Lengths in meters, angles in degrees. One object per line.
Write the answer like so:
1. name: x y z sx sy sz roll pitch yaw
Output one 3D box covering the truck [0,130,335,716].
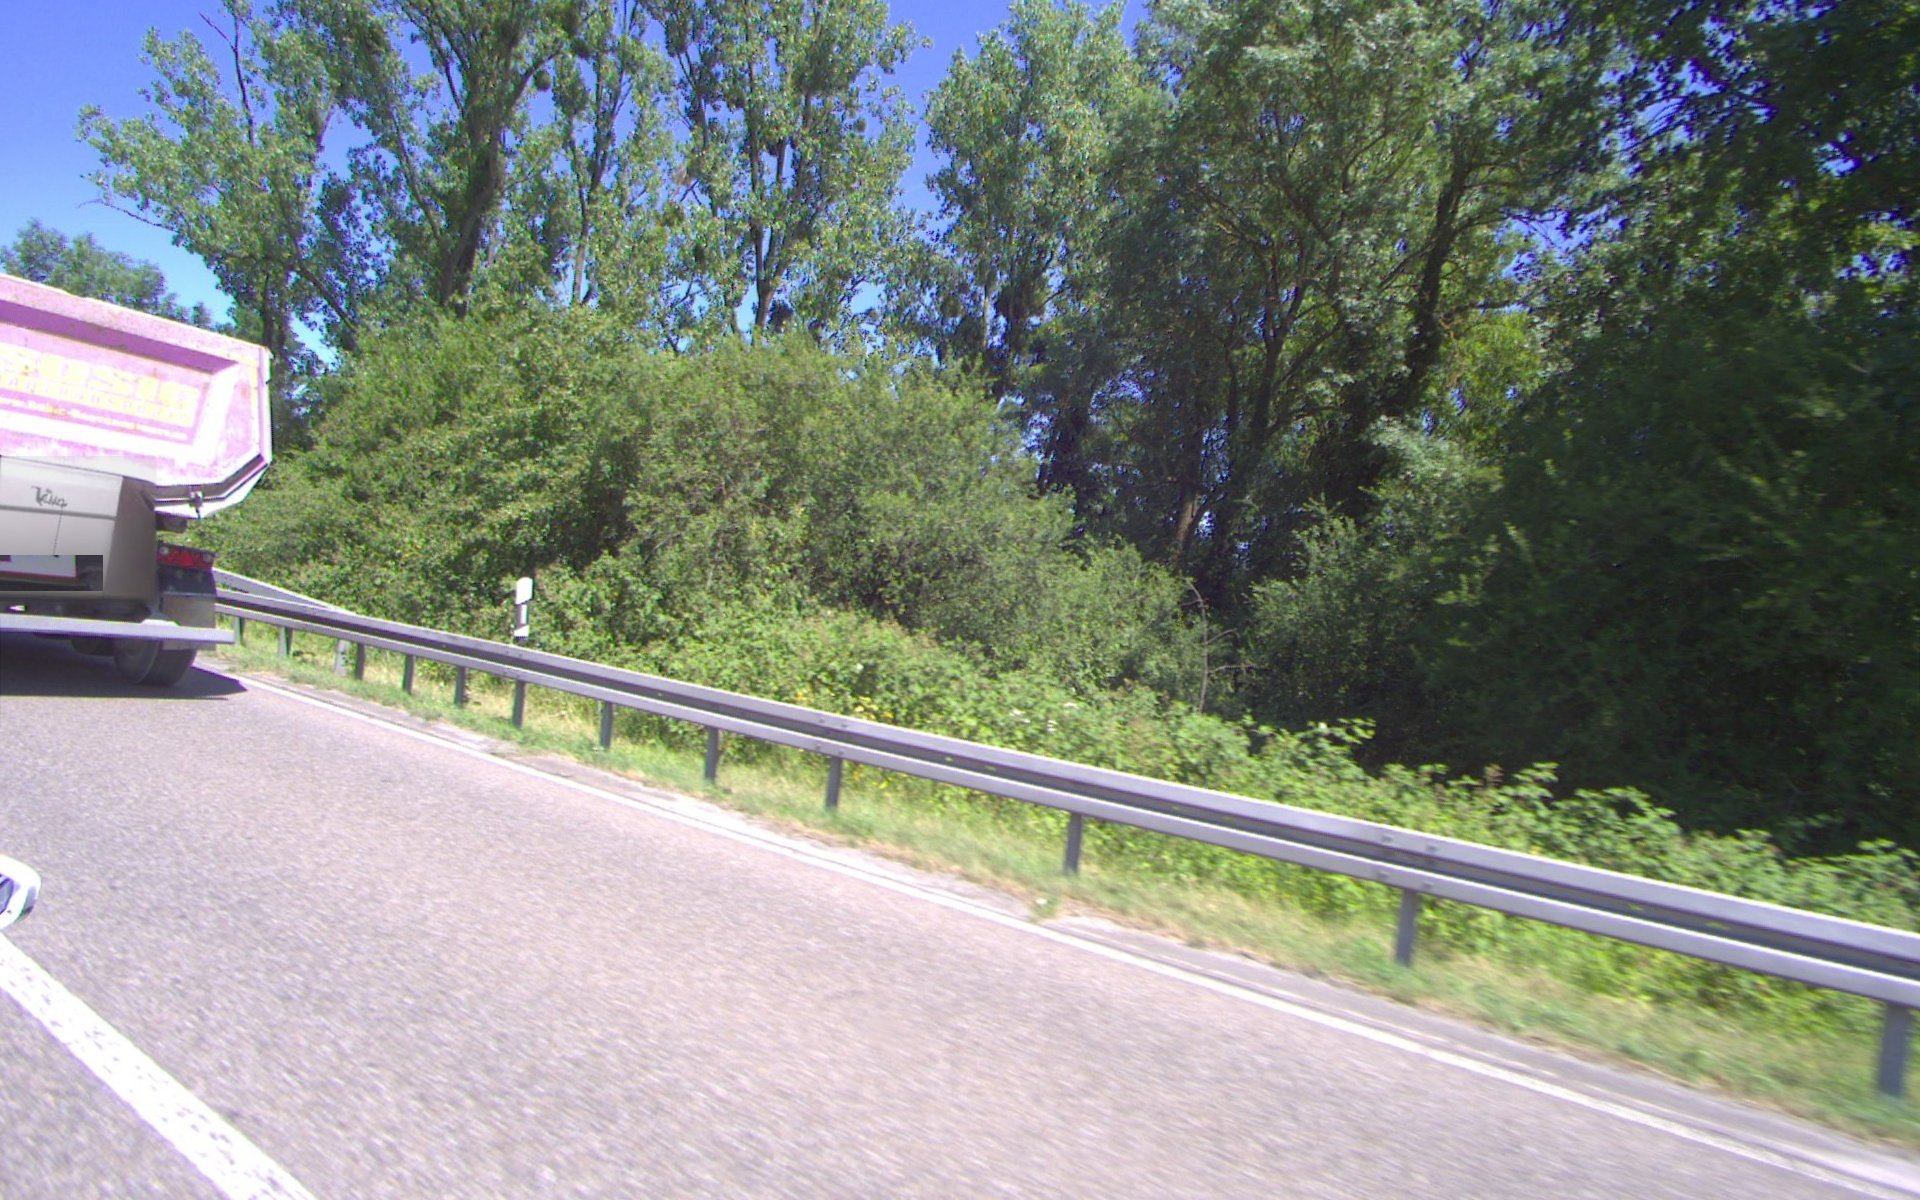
1. truck: -11.468 -1.705 10.676 12.165 3.975 2.726 7 -2 32
